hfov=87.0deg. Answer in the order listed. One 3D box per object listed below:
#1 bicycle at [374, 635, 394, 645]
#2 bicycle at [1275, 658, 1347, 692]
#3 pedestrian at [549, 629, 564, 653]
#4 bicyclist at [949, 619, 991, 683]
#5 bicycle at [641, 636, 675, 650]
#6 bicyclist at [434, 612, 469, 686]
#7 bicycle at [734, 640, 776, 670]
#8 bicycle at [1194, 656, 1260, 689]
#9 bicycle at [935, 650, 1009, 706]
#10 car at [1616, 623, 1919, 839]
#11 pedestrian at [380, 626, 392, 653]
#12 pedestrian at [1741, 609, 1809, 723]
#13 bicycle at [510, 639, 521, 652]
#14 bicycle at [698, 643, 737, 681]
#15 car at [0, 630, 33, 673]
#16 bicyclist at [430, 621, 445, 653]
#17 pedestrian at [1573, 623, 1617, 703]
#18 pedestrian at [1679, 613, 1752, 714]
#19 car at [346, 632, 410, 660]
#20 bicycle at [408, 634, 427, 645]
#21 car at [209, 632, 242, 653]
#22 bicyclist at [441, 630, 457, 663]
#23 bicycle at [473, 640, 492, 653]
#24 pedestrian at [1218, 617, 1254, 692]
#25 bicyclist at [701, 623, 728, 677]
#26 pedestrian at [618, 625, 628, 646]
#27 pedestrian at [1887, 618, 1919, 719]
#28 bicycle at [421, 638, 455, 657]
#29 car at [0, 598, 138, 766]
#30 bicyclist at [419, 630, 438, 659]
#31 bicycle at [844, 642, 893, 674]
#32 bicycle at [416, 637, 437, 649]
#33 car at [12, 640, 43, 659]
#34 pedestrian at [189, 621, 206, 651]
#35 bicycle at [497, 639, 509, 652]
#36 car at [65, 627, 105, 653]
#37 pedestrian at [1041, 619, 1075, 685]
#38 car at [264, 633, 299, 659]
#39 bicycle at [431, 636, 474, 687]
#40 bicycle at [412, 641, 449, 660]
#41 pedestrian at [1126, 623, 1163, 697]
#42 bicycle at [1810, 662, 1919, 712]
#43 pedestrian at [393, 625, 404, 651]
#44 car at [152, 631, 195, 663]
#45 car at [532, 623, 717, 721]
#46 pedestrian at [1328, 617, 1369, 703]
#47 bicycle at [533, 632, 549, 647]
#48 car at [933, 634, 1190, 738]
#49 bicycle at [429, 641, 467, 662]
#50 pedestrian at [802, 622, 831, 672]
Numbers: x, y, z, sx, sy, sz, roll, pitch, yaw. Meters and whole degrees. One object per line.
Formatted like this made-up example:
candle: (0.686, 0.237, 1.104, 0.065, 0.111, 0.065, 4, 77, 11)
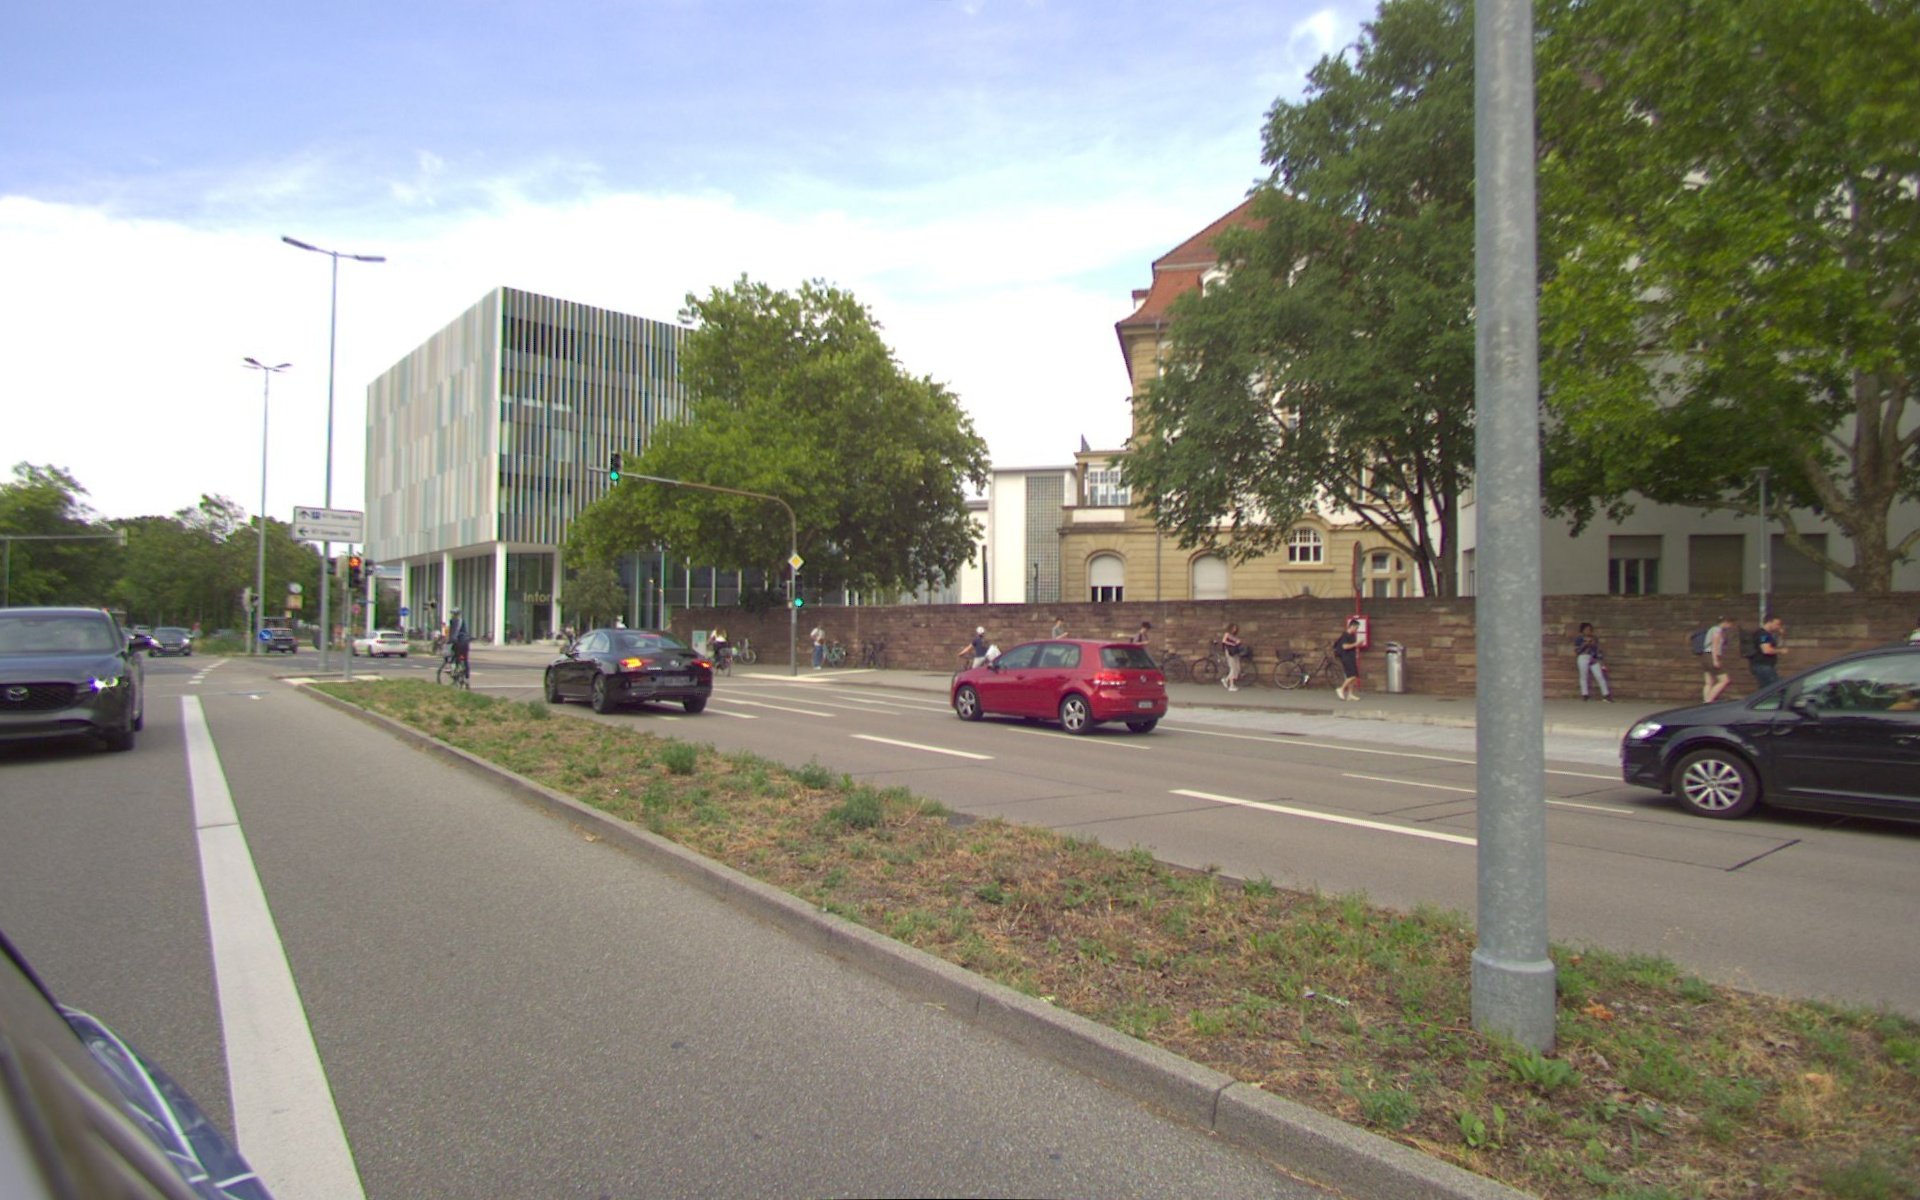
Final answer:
bicycle: (-59.960, 4.170, 105.337, 0.434, 1.031, 1.680, -2, -1, 43)
bicycle: (8.631, 1.836, 24.931, 1.620, 0.803, 0.436, -3, -2, 42)
pedestrian: (-29.398, 2.981, 73.733, 0.672, 1.753, 0.727, 0, -2, 14)
bicyclist: (0.220, 1.147, 23.098, 0.573, 1.430, 0.813, 2, -3, -38)
bicycle: (-23.036, 3.265, 77.157, 0.671, 1.007, 2.652, -1, -3, 33)
bicyclist: (-11.131, 1.075, 22.163, 0.564, 1.586, 0.701, 1, -3, -35)
bicycle: (-8.199, 2.196, 40.368, 0.570, 1.134, 2.167, -2, 0, -43)
bicycle: (6.964, 1.888, 26.465, 1.620, 0.803, 0.436, -3, -2, 42)
bicycle: (0.256, 1.743, 23.007, 0.574, 1.179, 1.968, 2, -3, -39)
car: (8.206, 1.068, 8.399, 1.779, 1.678, 4.306, 4, -4, -41)
pedestrian: (-40.872, 2.813, 72.063, 0.504, 1.852, 0.773, 2, -4, -42)
pedestrian: (13.303, 1.064, 16.536, 0.718, 1.796, 0.754, 1, -4, 28)
bicycle: (-34.589, 3.532, 78.735, 0.388, 0.944, 1.601, -1, -1, -9)
bicycle: (-8.253, 2.097, 34.416, 0.610, 1.226, 2.050, 2, -2, -34)
car: (-37.250, 1.960, 37.422, 1.801, 1.568, 4.127, -1, -1, 35)
bicyclist: (-30.080, 2.110, 58.248, 0.560, 1.820, 0.594, -1, -1, 34)
pedestrian: (13.058, 1.274, 20.826, 0.732, 1.604, 0.582, 1, -1, 29)
pedestrian: (13.874, 1.140, 18.608, 0.909, 1.796, 0.755, 1, -1, 23)
car: (-31.750, 2.480, 55.186, 4.416, 1.500, 1.782, -2, -3, 43)
bicycle: (-51.280, 3.740, 95.725, 0.389, 1.031, 1.560, -2, -1, 43)
car: (-58.727, 3.399, 80.878, 1.779, 1.523, 4.110, 2, -2, -41)
bicyclist: (-28.916, 2.617, 57.248, 0.560, 1.820, 0.595, -1, -3, 33)
bicycle: (-37.777, 3.656, 80.099, 0.390, 0.944, 1.603, -1, -1, 15)
pedestrian: (6.800, 1.330, 24.896, 0.778, 1.796, 0.756, 1, -1, 20)
bicyclist: (-8.362, 1.699, 34.464, 0.610, 1.796, 0.813, 2, -3, -34)
pedestrian: (-28.618, 3.009, 85.922, 0.628, 1.792, 0.596, 0, -2, 4)
pedestrian: (16.514, 1.163, 17.181, 0.918, 1.683, 0.755, 1, -1, 23)
bicycle: (-30.060, 2.732, 58.277, 0.570, 0.996, 1.672, -1, -1, 35)
car: (-10.993, 0.885, 11.943, 1.876, 1.661, 4.652, -1, -1, -40)
bicyclist: (-31.355, 2.634, 59.720, 0.722, 1.685, 0.720, -1, -1, 34)
bicycle: (-3.249, 2.050, 35.779, 1.982, 1.066, 0.542, -2, 0, 45)
bicycle: (-48.349, 3.862, 91.719, 0.389, 1.031, 1.560, -2, -1, 43)
car: (-71.514, 3.803, 77.630, 1.678, 1.379, 3.836, 2, -3, -43)
pedestrian: (-47.462, 2.224, 63.008, 0.717, 1.867, 1.065, 2, -3, -44)
bicycle: (-35.761, 3.549, 79.225, 0.388, 0.944, 1.601, -1, -1, -9)
car: (-61.068, 2.771, 70.616, 1.969, 1.785, 4.004, 2, -3, -42)
pedestrian: (2.732, 1.423, 28.189, 0.777, 1.796, 0.742, 1, -1, 19)
car: (-40.288, 2.695, 60.089, 1.551, 1.500, 3.644, 1, -2, -37)
bicycle: (-11.135, 1.331, 22.178, 0.565, 1.063, 1.931, 1, -2, -35)
bicycle: (-31.280, 2.972, 59.818, 0.727, 0.996, 1.801, -1, -1, 34)
pedestrian: (4.643, 1.492, 25.459, 0.778, 1.796, 0.756, 1, -1, 21)
bicycle: (16.557, 1.575, 18.415, 1.616, 0.834, 0.437, -1, 0, 34)
pedestrian: (-40.310, 2.753, 72.638, 0.504, 1.852, 0.625, 2, -4, -42)
car: (-40.534, 2.403, 52.217, 1.635, 1.475, 4.009, 0, -1, -36)
car: (-6.026, 1.189, 17.852, 1.778, 1.500, 4.415, 2, -3, -37)
pedestrian: (8.369, 1.271, 21.798, 0.779, 1.796, 0.755, 1, -1, 23)
bicycle: (-32.150, 3.017, 77.643, 0.390, 1.037, 1.541, -1, -1, 11)
car: (1.565, 1.329, 16.986, 1.779, 1.500, 4.295, 2, -3, -40)
bicycle: (-28.938, 2.893, 57.223, 0.605, 1.179, 1.874, -1, -2, 33)
pedestrian: (-5.269, 1.727, 37.218, 0.777, 1.796, 0.743, 1, -1, 17)
